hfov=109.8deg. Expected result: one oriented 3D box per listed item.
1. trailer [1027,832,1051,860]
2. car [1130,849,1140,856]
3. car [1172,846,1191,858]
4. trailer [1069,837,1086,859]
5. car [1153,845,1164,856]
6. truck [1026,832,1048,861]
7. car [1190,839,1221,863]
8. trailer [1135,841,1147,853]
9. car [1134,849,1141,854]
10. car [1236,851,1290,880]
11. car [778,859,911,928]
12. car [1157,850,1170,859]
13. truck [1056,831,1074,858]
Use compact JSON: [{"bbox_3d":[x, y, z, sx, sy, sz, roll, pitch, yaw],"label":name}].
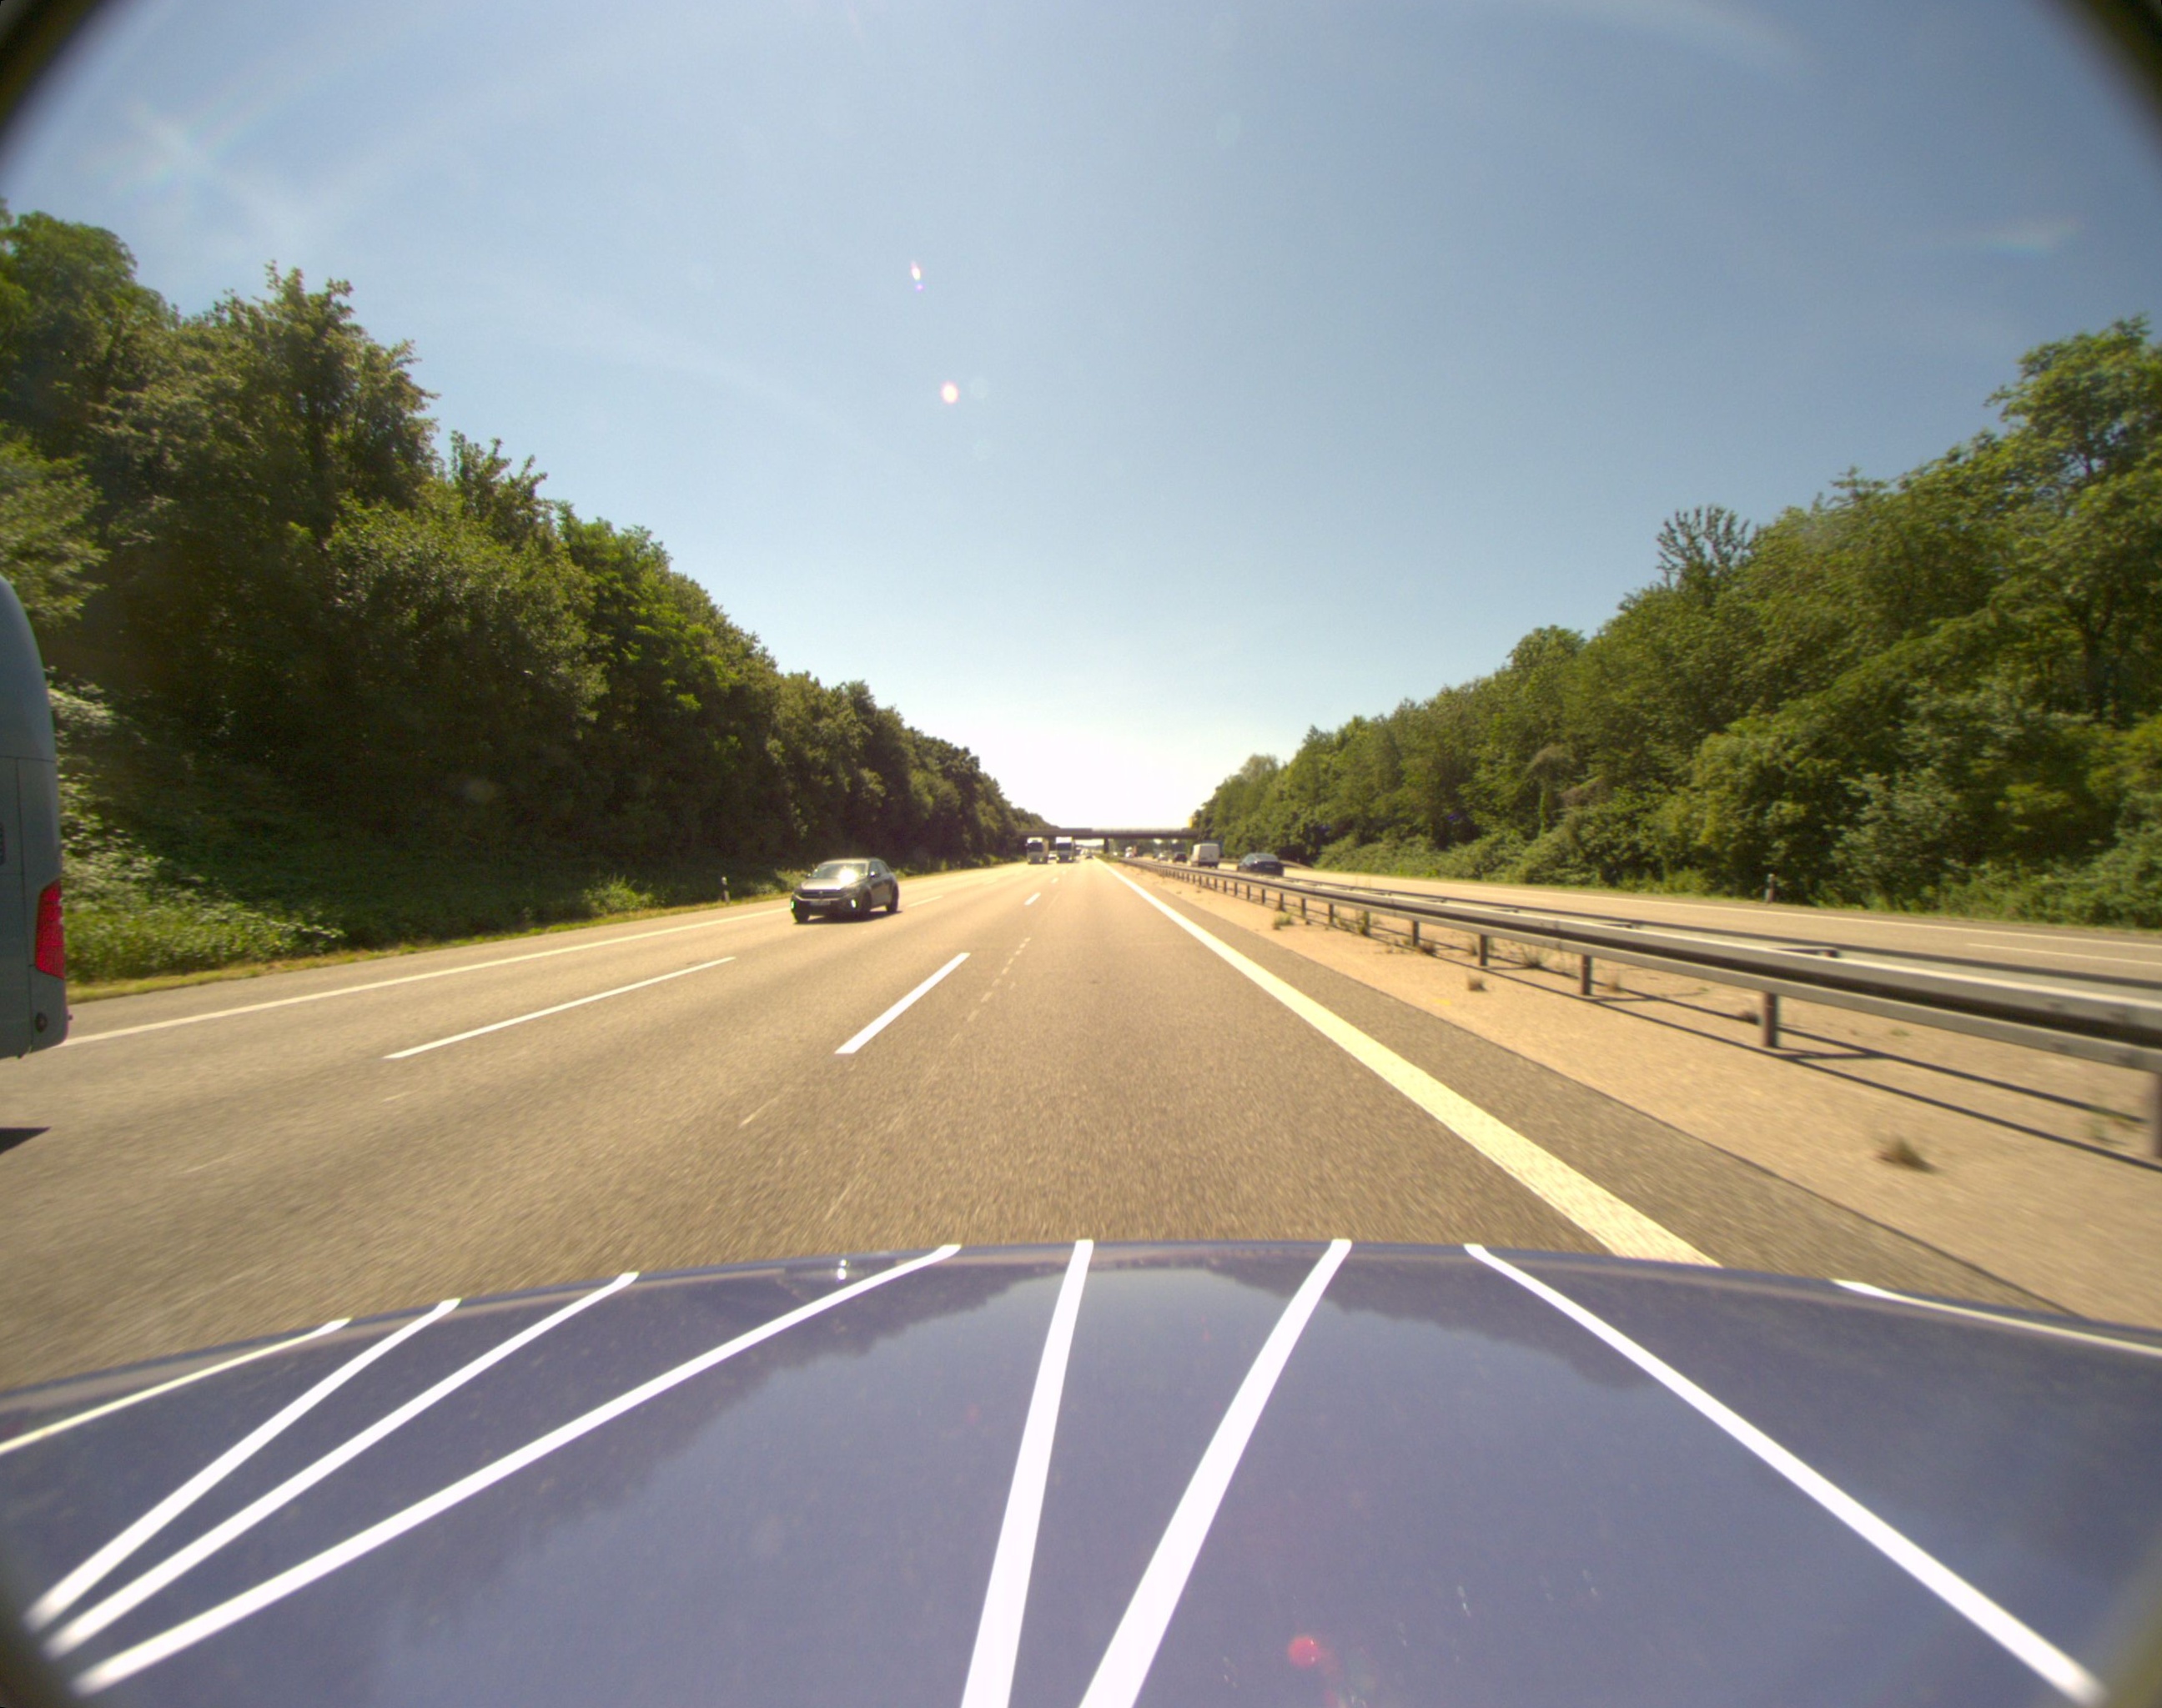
[{"bbox_3d":[-6.725,-1.188,123.218,3.047,4.200,13.833,-2,0,0],"label":"trailer"},{"bbox_3d":[11.641,-0.376,165.307,1.825,1.515,4.822,0,0,0],"label":"car"},{"bbox_3d":[15.078,-0.349,114.481,2.280,1.641,4.927,1,1,0],"label":"car"},{"bbox_3d":[-0.757,-1.216,150.911,2.886,4.046,13.832,-2,0,-1],"label":"trailer"},{"bbox_3d":[19.445,-0.902,191.138,2.092,2.537,6.227,0,0,1],"label":"car"},{"bbox_3d":[-6.680,-1.160,116.444,3.055,4.190,6.048,-2,0,0],"label":"truck"},{"bbox_3d":[11.934,-0.278,73.052,2.092,2.275,5.276,0,0,0],"label":"car"},{"bbox_3d":[20.703,-2.528,264.486,3.225,4.035,12.740,0,1,0],"label":"trailer"},{"bbox_3d":[16.591,-0.663,223.265,1.672,1.394,4.705,0,0,0],"label":"car"},{"bbox_3d":[9.835,0.578,41.410,1.810,1.472,4.567,0,1,0],"label":"car"},{"bbox_3d":[-6.107,0.951,20.283,1.904,1.523,4.760,-2,0,2],"label":"car"},{"bbox_3d":[14.932,0.066,137.783,1.825,1.515,4.822,0,0,0],"label":"car"},{"bbox_3d":[-2.458,-1.457,120.924,2.684,4.046,6.048,-2,0,0],"label":"truck"}]
